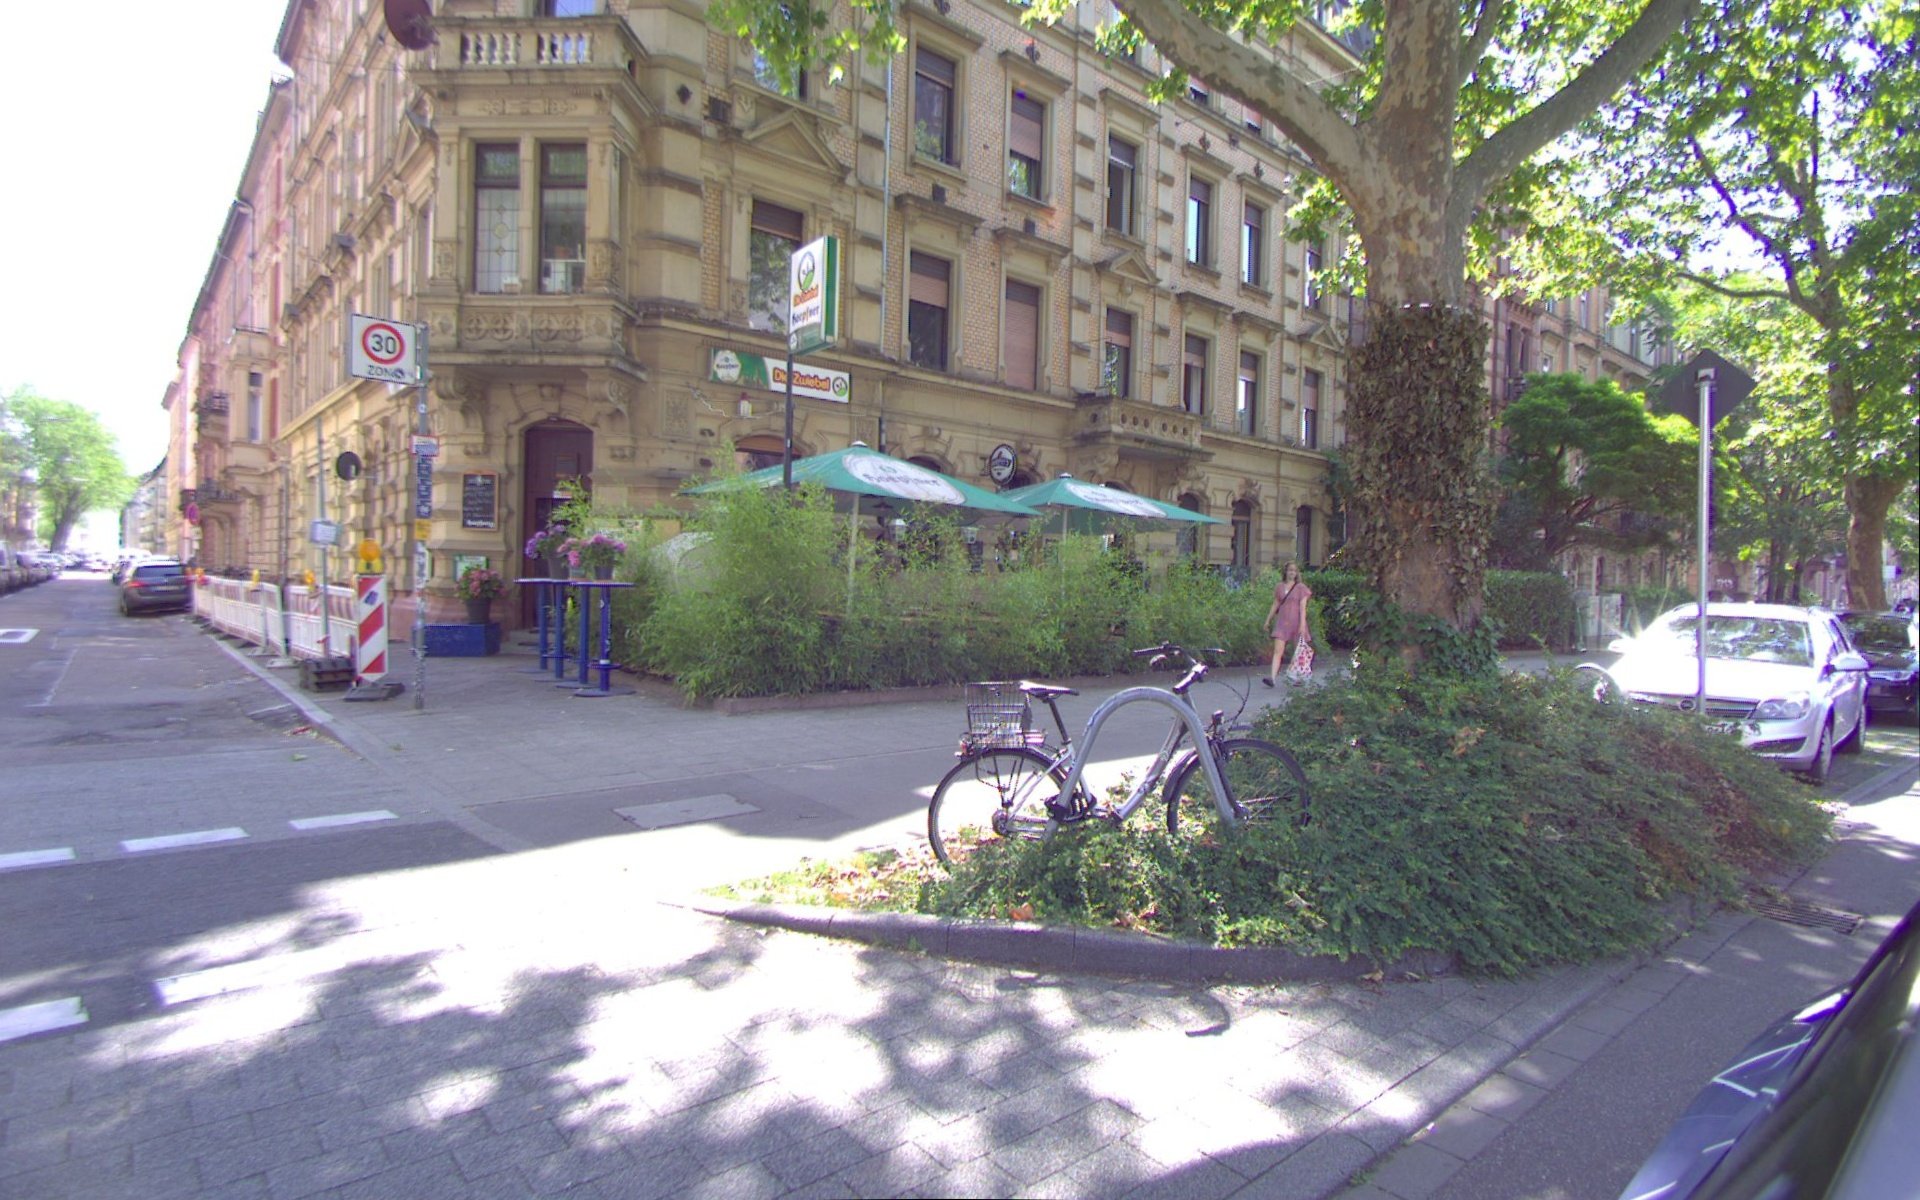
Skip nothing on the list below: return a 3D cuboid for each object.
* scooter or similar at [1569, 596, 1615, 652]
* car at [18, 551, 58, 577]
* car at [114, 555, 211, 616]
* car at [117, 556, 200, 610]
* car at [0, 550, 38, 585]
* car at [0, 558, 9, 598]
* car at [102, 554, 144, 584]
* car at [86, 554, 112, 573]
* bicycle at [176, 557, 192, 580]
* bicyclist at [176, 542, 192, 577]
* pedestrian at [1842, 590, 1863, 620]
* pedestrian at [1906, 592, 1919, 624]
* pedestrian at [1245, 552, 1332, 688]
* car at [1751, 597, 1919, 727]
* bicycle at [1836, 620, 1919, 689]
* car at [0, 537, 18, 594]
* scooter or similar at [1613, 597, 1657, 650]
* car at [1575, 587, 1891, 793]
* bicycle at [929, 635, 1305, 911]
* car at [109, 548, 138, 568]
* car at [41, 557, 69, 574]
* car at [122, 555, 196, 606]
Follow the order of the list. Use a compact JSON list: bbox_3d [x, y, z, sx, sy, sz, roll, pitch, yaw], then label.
[{"bbox_3d":[14.944,0.560,23.932,1.124,1.263,0.583,1,1,-40],"label":"scooter or similar"},{"bbox_3d":[-65.704,-2.567,72.154,1.879,1.731,4.157,1,1,-40],"label":"car"},{"bbox_3d":[-22.285,-0.443,28.221,1.965,1.571,3.995,0,2,-41],"label":"car"},{"bbox_3d":[-26.207,-0.573,33.047,1.965,1.660,3.995,0,1,-41],"label":"car"},{"bbox_3d":[-49.428,-1.704,52.658,1.879,1.731,4.159,1,1,-39],"label":"car"},{"bbox_3d":[-38.906,-0.907,40.086,1.698,1.548,3.490,1,1,-42],"label":"car"},{"bbox_3d":[-51.885,-1.924,62.712,1.965,1.760,3.995,0,1,-41],"label":"car"},{"bbox_3d":[-86.138,-3.660,101.255,1.965,1.760,3.995,1,1,-41],"label":"car"},{"bbox_3d":[-33.725,-1.360,43.969,0.529,0.991,1.309,1,1,-37],"label":"bicycle"},{"bbox_3d":[-33.723,-1.757,43.974,0.523,1.471,0.461,1,1,-37],"label":"bicyclist"},{"bbox_3d":[53.829,0.287,61.022,0.951,1.740,0.796,1,1,-41],"label":"pedestrian"},{"bbox_3d":[52.666,0.450,55.639,0.951,1.740,0.796,1,1,-41],"label":"pedestrian"},{"bbox_3d":[4.572,0.254,14.102,0.837,1.807,0.738,1,3,-41],"label":"pedestrian"},{"bbox_3d":[12.953,0.762,14.352,4.561,1.527,1.837,0,2,-40],"label":"car"},{"bbox_3d":[15.975,0.933,17.155,1.615,1.102,0.469,2,1,17],"label":"bicycle"},{"bbox_3d":[-42.291,-1.536,43.844,1.879,2.403,4.244,1,1,-39],"label":"car"},{"bbox_3d":[17.065,0.590,25.566,1.124,1.298,0.583,1,1,-39],"label":"scooter or similar"},{"bbox_3d":[7.749,0.687,9.964,4.418,1.527,1.835,0,2,-44],"label":"car"},{"bbox_3d":[0.689,0.739,4.532,1.583,1.119,0.423,1,1,-10],"label":"bicycle"},{"bbox_3d":[-76.574,-3.817,92.574,1.965,1.760,3.995,1,1,-41],"label":"car"},{"bbox_3d":[-78.303,-2.991,87.580,1.641,1.419,3.357,0,1,-40],"label":"car"},{"bbox_3d":[-29.211,-0.722,36.871,1.965,1.760,3.995,0,1,-41],"label":"car"}]
